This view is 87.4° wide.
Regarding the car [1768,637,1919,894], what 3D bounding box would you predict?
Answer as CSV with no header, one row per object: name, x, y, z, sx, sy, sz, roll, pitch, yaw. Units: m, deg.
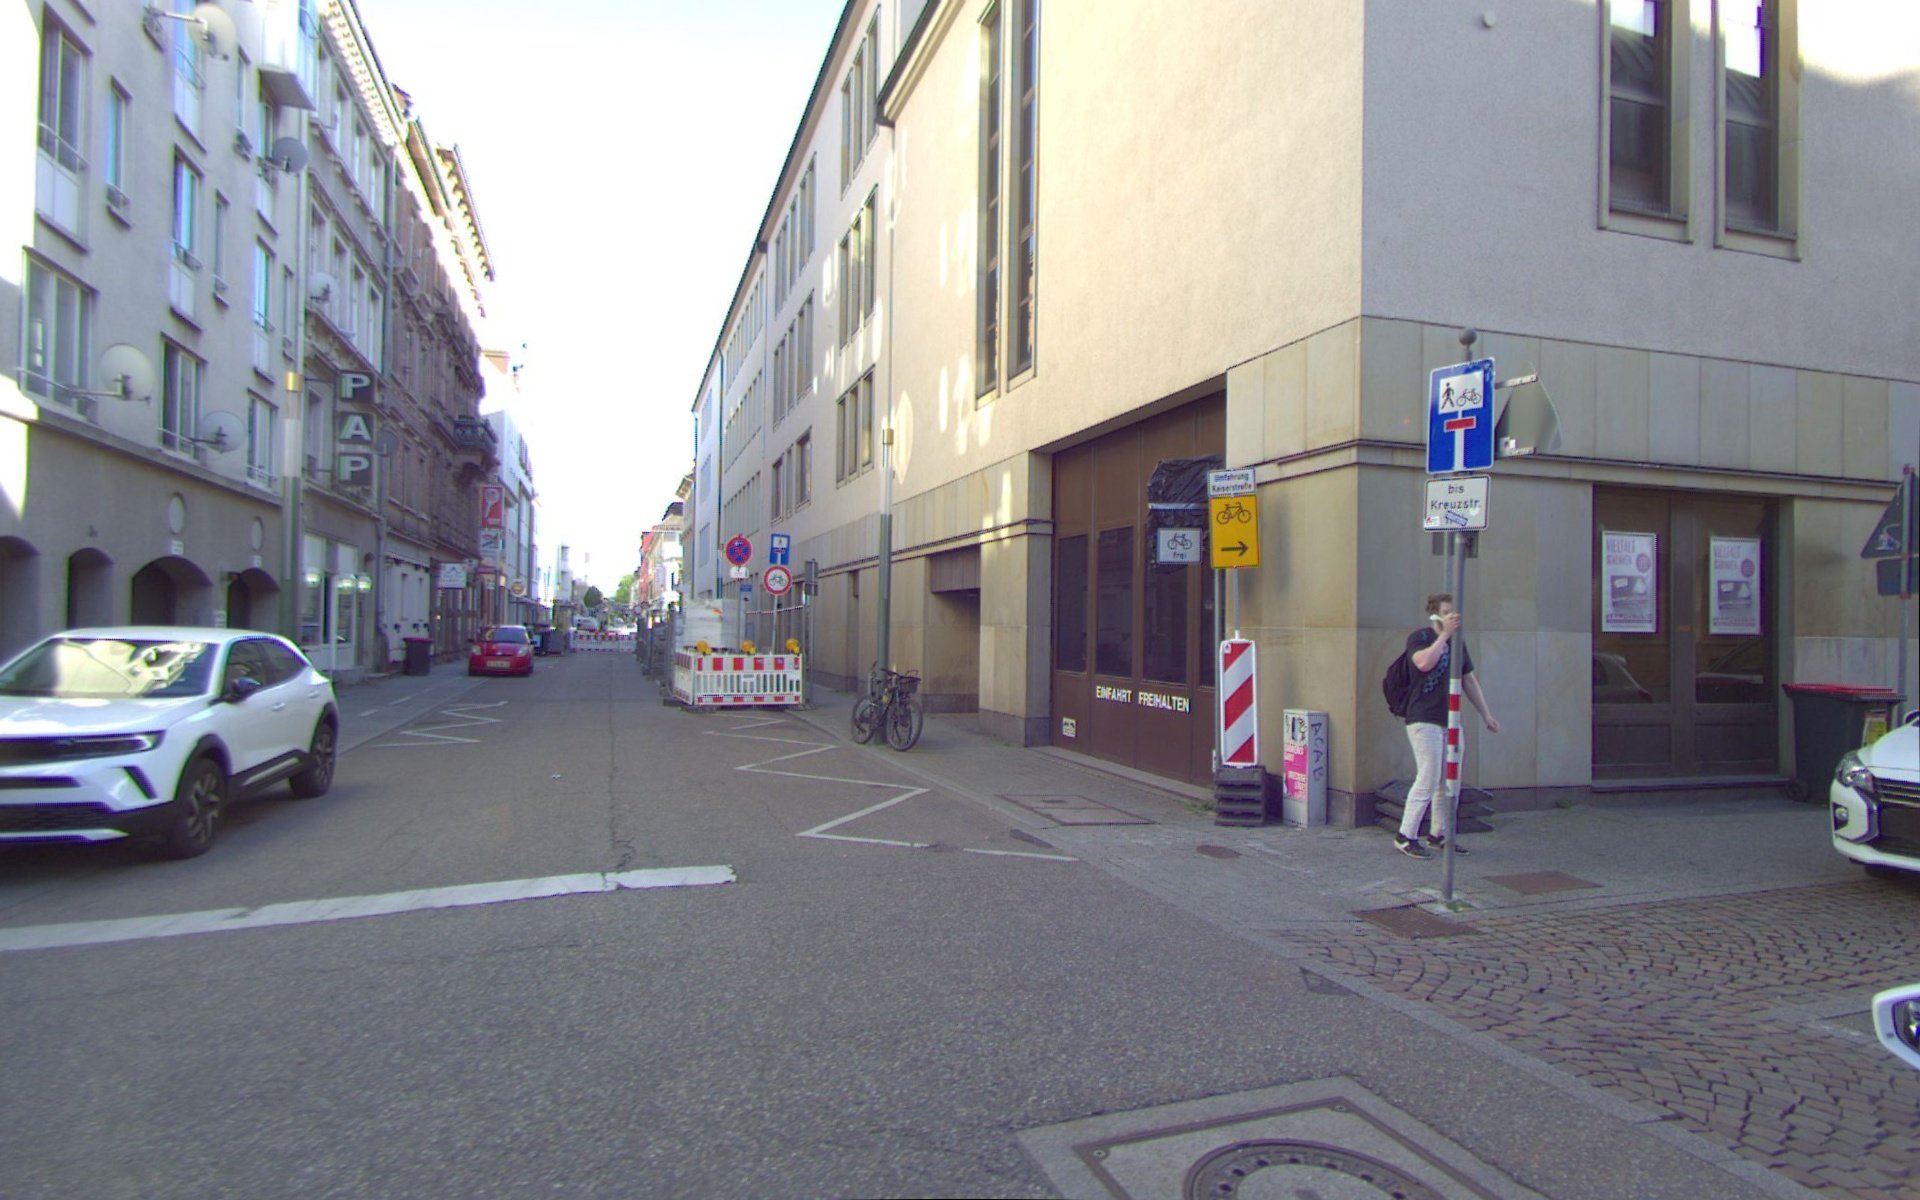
car,7.437,1.008,6.509,3.742,1.512,1.735,1,-3,-20

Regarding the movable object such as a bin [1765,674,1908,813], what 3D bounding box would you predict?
movable object such as a bin,7.789,1.247,8.949,0.581,1.115,0.736,2,1,-18

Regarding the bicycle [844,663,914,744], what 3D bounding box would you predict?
bicycle,-1.216,1.498,14.838,0.299,1.064,1.527,1,-1,-35

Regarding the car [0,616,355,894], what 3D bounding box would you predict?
car,-6.287,0.954,7.736,1.714,1.614,3.957,2,-2,-15

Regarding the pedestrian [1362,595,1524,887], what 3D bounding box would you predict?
pedestrian,3.380,0.933,7.041,0.850,1.878,0.712,-1,-4,43

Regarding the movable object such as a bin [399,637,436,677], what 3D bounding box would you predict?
movable object such as a bin,-15.307,1.604,28.350,0.826,1.062,0.750,2,1,-24

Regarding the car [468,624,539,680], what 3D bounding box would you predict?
car,-13.975,1.550,30.930,1.768,1.545,3.979,3,-2,-22

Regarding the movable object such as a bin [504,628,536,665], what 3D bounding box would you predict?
movable object such as a bin,-17.149,1.811,39.174,1.068,1.366,0.903,3,-2,-23

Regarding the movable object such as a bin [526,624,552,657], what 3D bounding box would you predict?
movable object such as a bin,-20.476,1.961,48.861,1.068,1.564,0.903,3,-2,-23

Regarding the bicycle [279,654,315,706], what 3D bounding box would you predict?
bicycle,-12.379,1.488,18.768,0.215,0.869,1.062,2,1,-14

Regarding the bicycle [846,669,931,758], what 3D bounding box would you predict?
bicycle,-1.008,1.513,13.750,0.299,1.064,1.774,1,-1,-35
